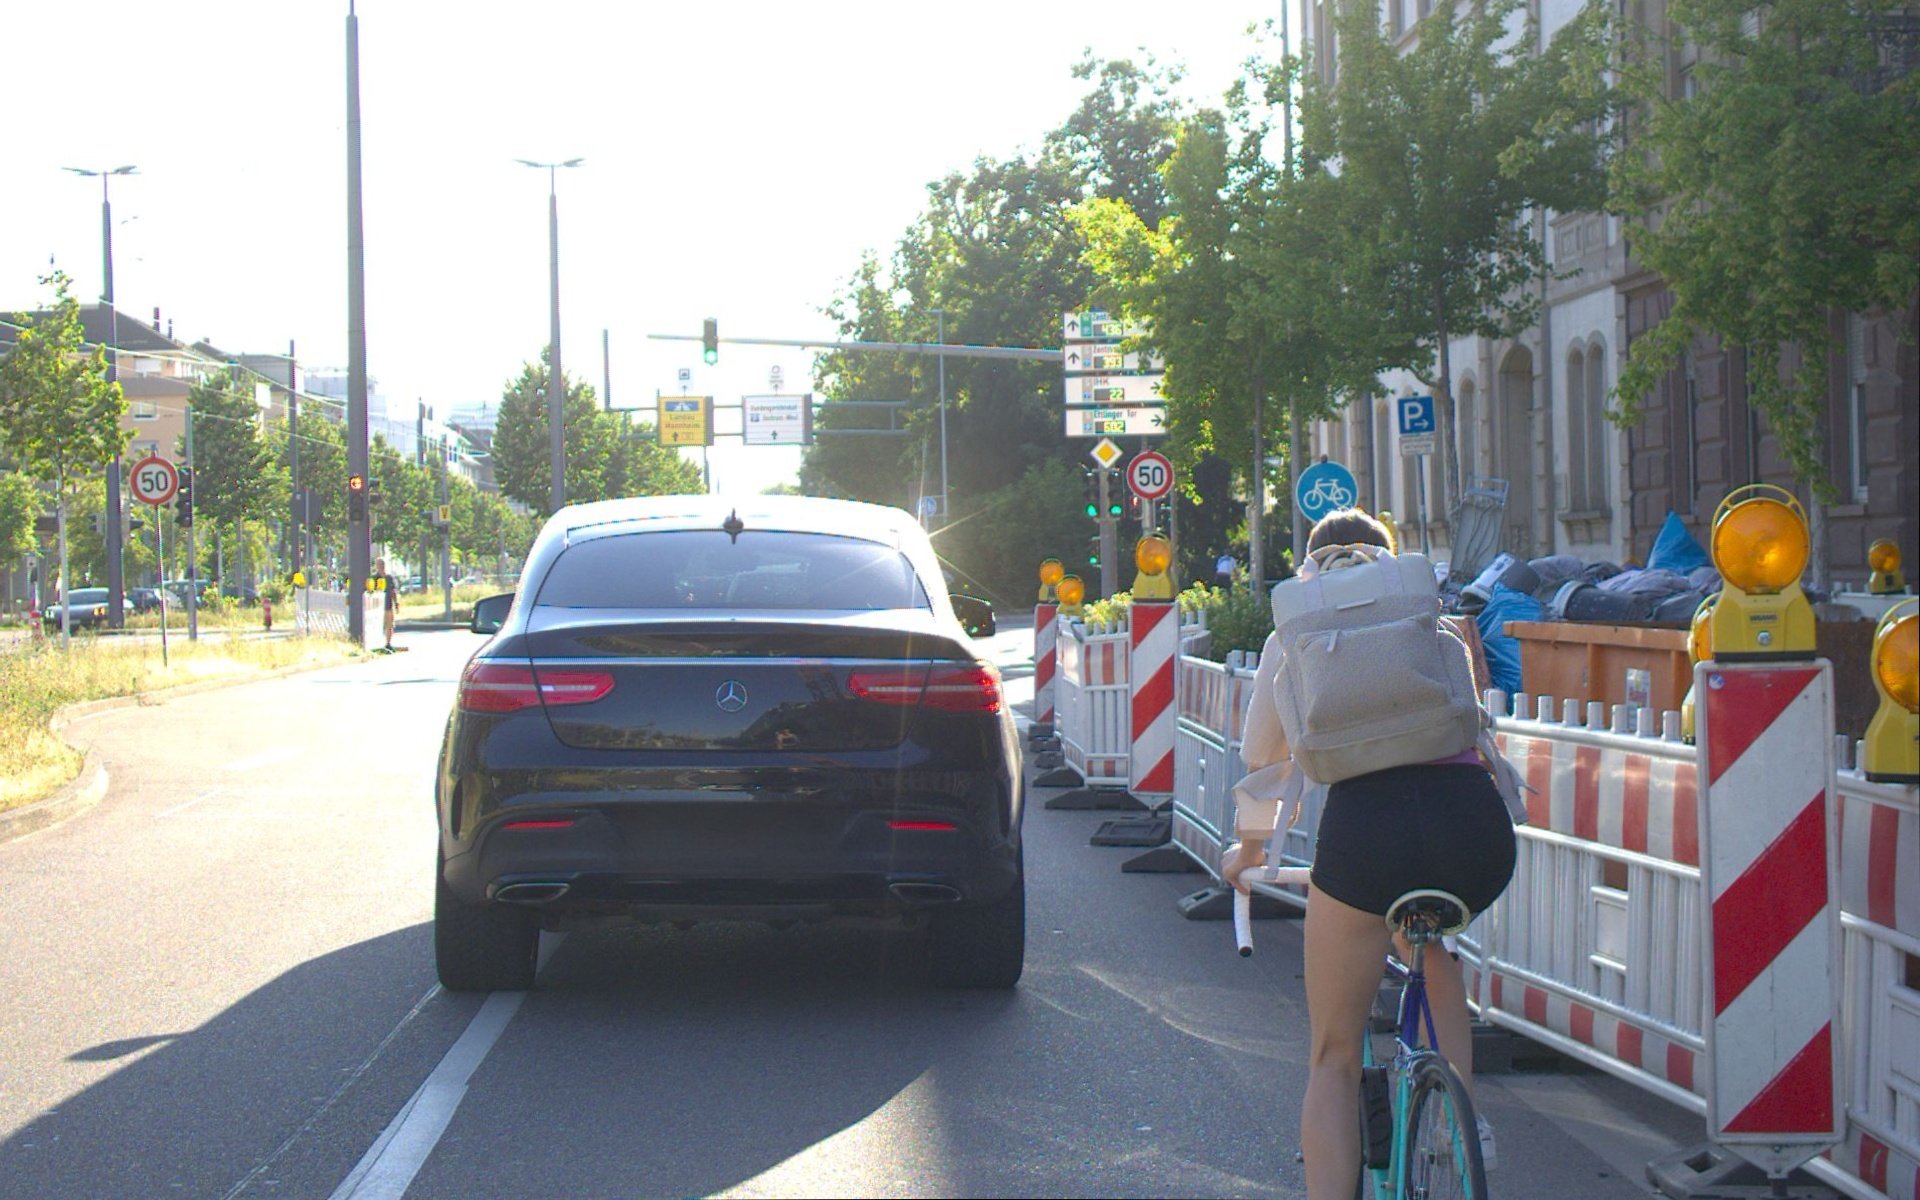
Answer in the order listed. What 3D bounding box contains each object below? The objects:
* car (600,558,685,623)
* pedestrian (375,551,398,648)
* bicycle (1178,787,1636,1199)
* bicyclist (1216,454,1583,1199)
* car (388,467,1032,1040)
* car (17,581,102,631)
[{"bbox_3d":[-7.196,-0.234,78.077,1.708,1.437,3.583,0,1,-2],"label":"car"},{"bbox_3d":[-10.494,-0.006,62.894,0.334,1.757,0.418,1,0,-2],"label":"pedestrian"},{"bbox_3d":[0.743,0.916,6.154,0.512,1.048,1.725,1,0,-2],"label":"bicycle"},{"bbox_3d":[0.753,0.454,6.015,0.523,1.391,0.615,1,0,-3],"label":"bicyclist"},{"bbox_3d":[-0.776,0.464,12.755,1.993,1.766,4.000,1,0,0],"label":"car"},{"bbox_3d":[-26.882,0.156,102.696,1.708,1.437,3.583,1,0,-2],"label":"car"}]
